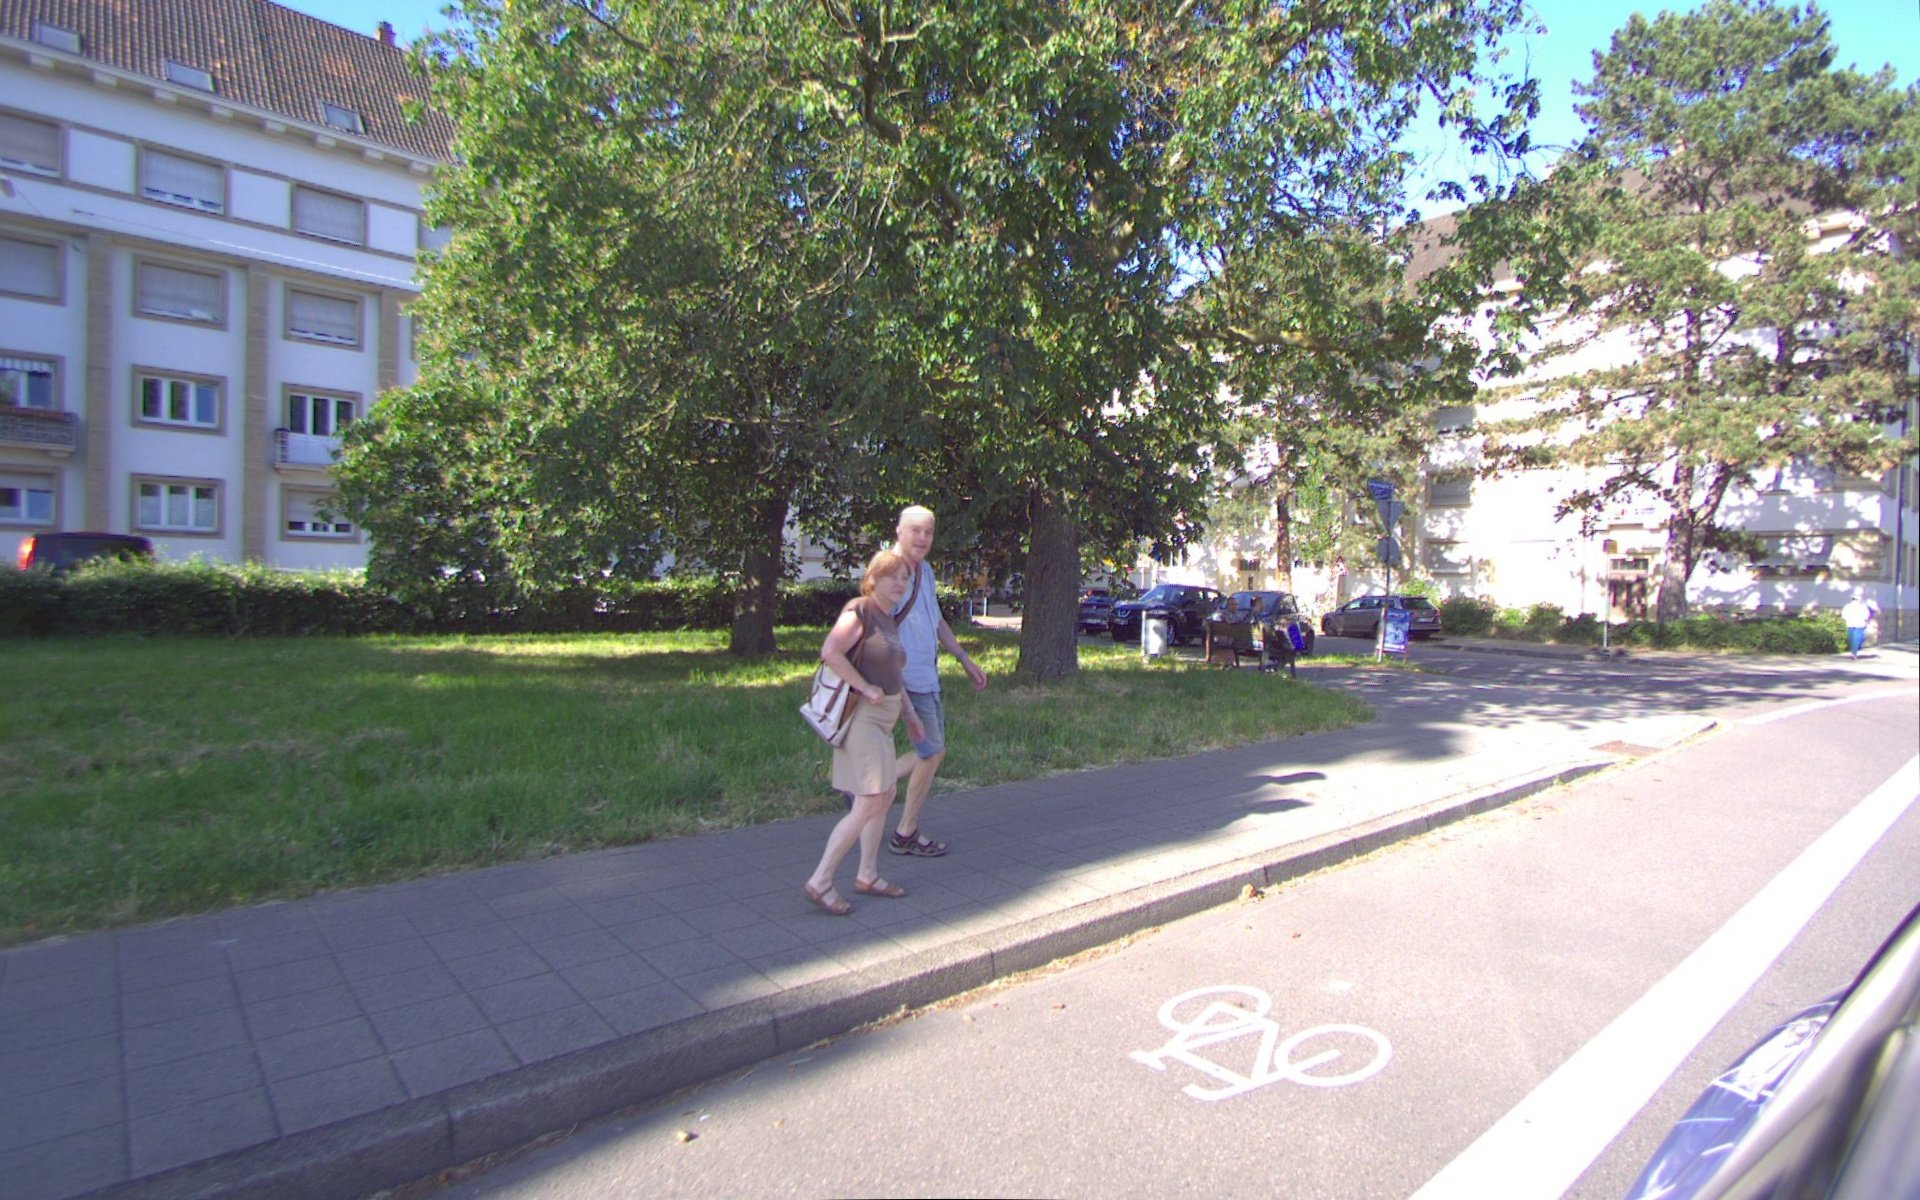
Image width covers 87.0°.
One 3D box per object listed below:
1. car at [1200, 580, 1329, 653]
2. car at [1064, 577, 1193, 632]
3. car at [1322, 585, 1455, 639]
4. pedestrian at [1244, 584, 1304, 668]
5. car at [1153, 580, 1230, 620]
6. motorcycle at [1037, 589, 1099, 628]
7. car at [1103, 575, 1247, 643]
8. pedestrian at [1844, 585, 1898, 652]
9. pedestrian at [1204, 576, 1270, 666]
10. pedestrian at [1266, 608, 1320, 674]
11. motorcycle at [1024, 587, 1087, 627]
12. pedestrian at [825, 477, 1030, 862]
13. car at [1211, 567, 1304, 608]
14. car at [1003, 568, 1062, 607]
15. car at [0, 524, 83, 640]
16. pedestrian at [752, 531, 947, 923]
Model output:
[{"bbox_3d":[7.159,0.344,23.553,1.632,1.513,3.757,3,2,37],"label":"car"},{"bbox_3d":[4.976,0.108,29.507,1.636,1.458,4.174,3,2,43],"label":"car"},{"bbox_3d":[14.198,0.324,33.801,1.732,1.519,4.316,-2,3,-17],"label":"car"},{"bbox_3d":[4.768,0.387,15.360,0.745,1.242,0.405,0,-1,-14],"label":"pedestrian"},{"bbox_3d":[10.628,-0.008,46.744,1.732,1.733,3.920,2,0,-17],"label":"car"},{"bbox_3d":[3.397,0.255,31.853,1.772,1.085,0.705,5,2,34],"label":"motorcycle"},{"bbox_3d":[5.501,0.221,25.726,3.738,1.592,1.456,1,2,-38],"label":"car"},{"bbox_3d":[24.297,0.480,26.994,0.711,1.743,0.883,1,1,-35],"label":"pedestrian"},{"bbox_3d":[4.365,0.328,15.994,0.739,1.391,0.688,0,-1,-14],"label":"pedestrian"},{"bbox_3d":[4.889,0.596,14.877,0.610,0.946,0.405,2,-2,-14],"label":"pedestrian"},{"bbox_3d":[2.929,0.214,31.125,1.772,1.085,0.705,5,2,34],"label":"motorcycle"},{"bbox_3d":[-0.180,0.314,5.227,0.681,1.811,0.706,2,2,-35],"label":"pedestrian"},{"bbox_3d":[12.087,-0.552,41.406,1.732,1.487,3.922,2,2,-17],"label":"car"},{"bbox_3d":[4.823,-0.770,68.252,2.081,2.474,5.328,0,-1,-18],"label":"car"},{"bbox_3d":[-16.320,-0.249,17.386,1.736,1.817,3.995,1,-1,-39],"label":"car"},{"bbox_3d":[-0.483,0.488,4.371,0.615,1.547,0.531,1,2,-35],"label":"pedestrian"}]
